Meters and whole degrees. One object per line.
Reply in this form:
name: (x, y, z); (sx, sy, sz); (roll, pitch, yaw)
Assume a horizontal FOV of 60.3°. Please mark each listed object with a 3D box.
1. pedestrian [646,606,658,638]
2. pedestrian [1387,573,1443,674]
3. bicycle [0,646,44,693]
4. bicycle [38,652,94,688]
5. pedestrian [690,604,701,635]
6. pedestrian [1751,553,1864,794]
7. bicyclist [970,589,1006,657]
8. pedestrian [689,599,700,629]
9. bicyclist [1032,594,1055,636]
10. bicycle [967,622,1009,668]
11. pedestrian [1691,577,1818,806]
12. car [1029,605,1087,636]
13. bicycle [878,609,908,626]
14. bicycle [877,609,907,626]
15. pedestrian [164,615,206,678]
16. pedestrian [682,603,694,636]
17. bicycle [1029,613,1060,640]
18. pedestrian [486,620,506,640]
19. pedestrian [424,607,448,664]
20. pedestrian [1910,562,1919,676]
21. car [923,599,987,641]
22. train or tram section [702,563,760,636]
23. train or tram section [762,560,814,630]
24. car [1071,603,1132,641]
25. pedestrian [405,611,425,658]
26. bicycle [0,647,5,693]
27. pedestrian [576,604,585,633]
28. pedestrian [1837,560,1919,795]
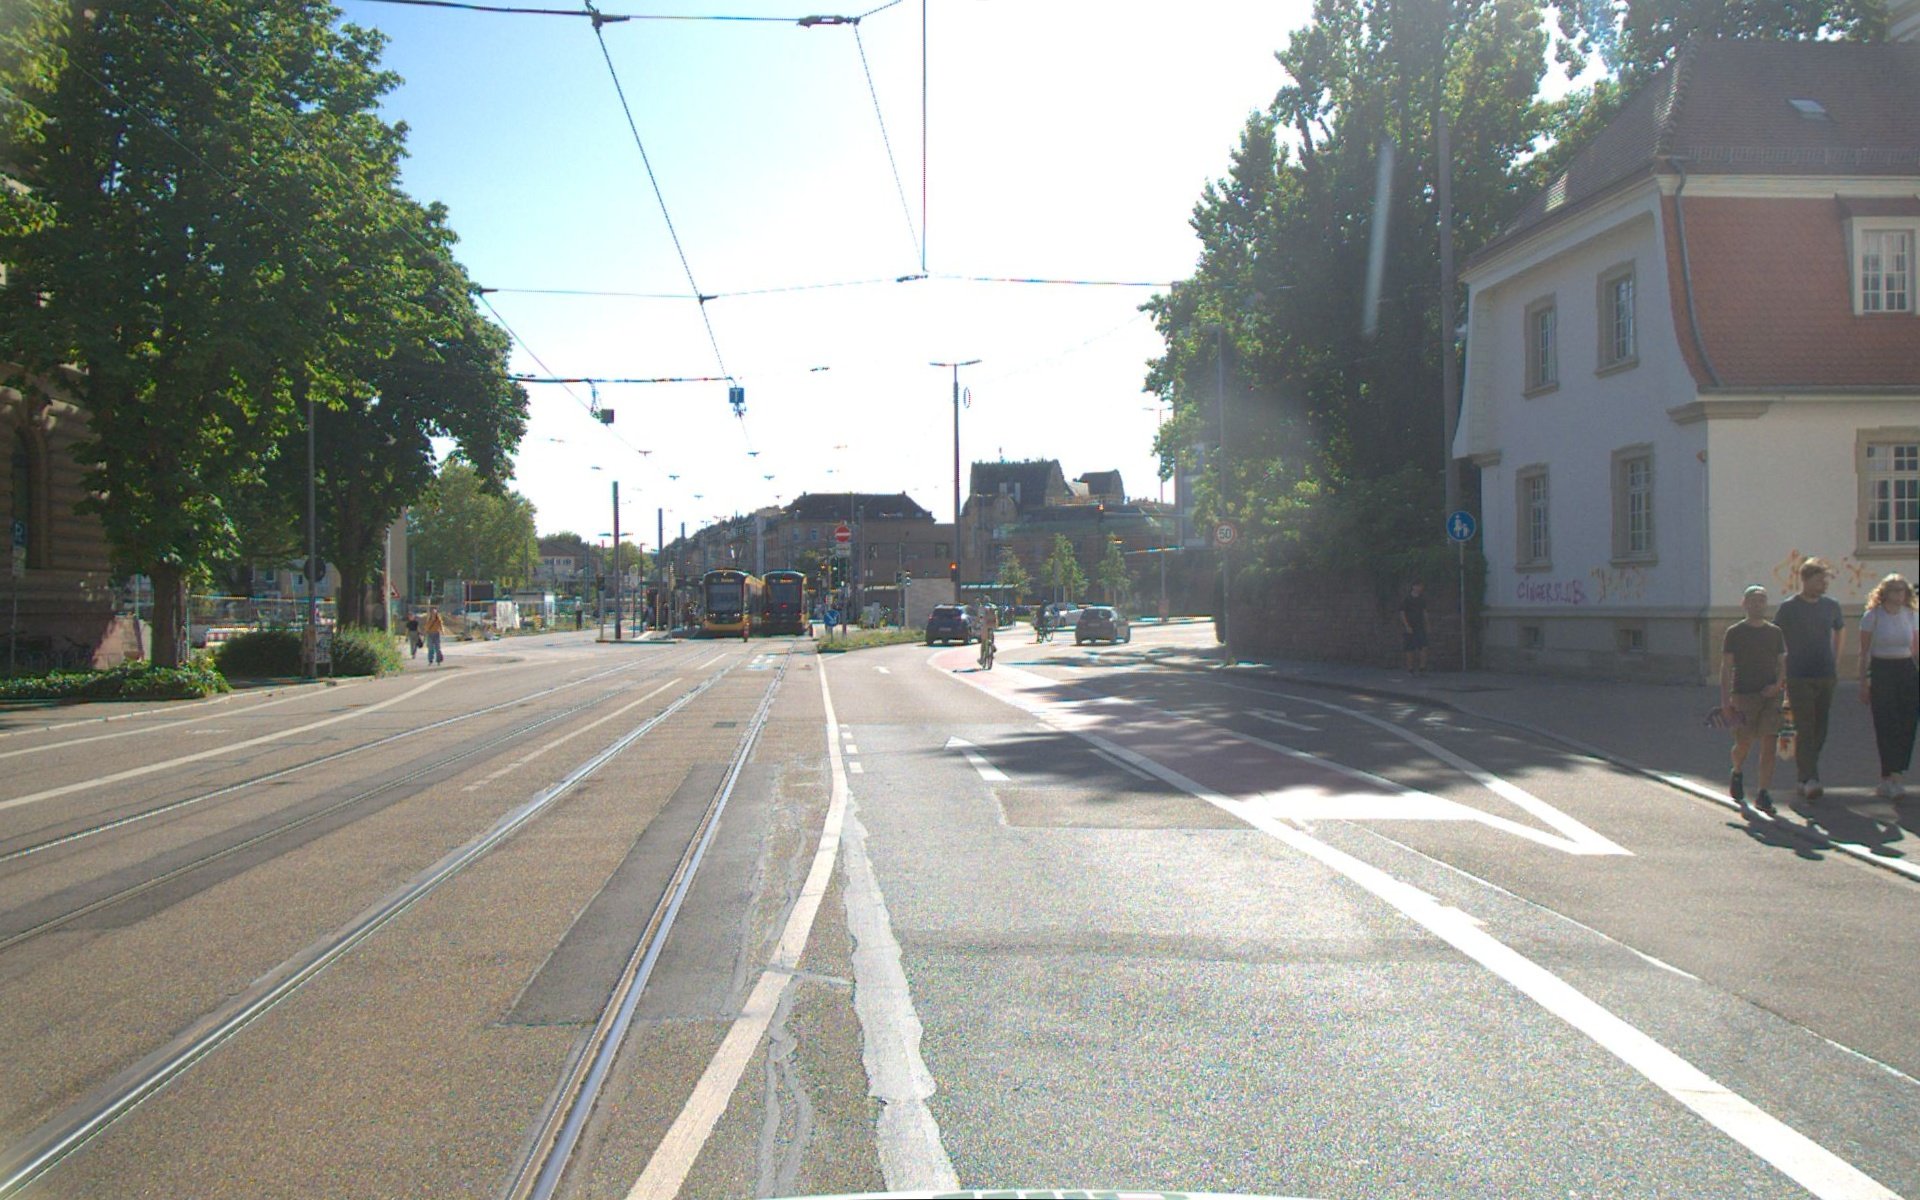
pedestrian: (-18.147, 1.302, 97.456); (0.614, 1.859, 0.661); (-1, 0, -6)
pedestrian: (8.941, 0.455, 32.517); (0.625, 1.937, 1.133); (-3, 0, -4)
bicycle: (-19.773, 1.442, 34.528); (0.471, 0.933, 1.618); (-1, -1, -4)
bicycle: (-20.072, 1.568, 37.162); (0.471, 0.737, 1.618); (-1, -1, -4)
pedestrian: (-15.905, 1.158, 99.570); (0.614, 1.859, 0.661); (-1, 0, -6)
pedestrian: (7.065, 0.603, 13.807); (0.508, 1.935, 0.612); (-4, 0, 3)
bicyclist: (0.728, 0.577, 42.626); (0.690, 1.704, 1.102); (1, 0, 14)
pedestrian: (-16.698, 0.864, 103.988); (0.614, 1.859, 0.661); (-1, 0, -6)
bicyclist: (3.520, 0.619, 69.566); (0.690, 1.730, 0.987); (1, 1, 19)
bicycle: (0.724, 1.141, 42.650); (0.690, 1.124, 1.718); (1, 0, 14)
pedestrian: (6.479, 0.728, 13.519); (0.594, 1.777, 0.718); (-4, 0, 3)
car: (5.351, 1.092, 89.646); (1.669, 1.672, 3.705); (0, 0, 30)
bicycle: (-4.423, 1.143, 108.649); (1.897, 1.122, 0.598); (-1, 0, -8)
bicycle: (-4.513, 1.150, 109.413); (1.897, 1.122, 0.598); (-1, 0, -8)
pedestrian: (-19.271, 1.149, 41.105); (0.910, 1.531, 0.699); (-1, 0, -28)
pedestrian: (-15.442, 1.110, 93.990); (0.614, 1.859, 0.661); (-1, 0, -6)
bicycle: (3.569, 1.119, 69.752); (0.690, 1.073, 2.314); (1, 1, 19)
pedestrian: (-24.955, 1.627, 88.959); (0.880, 1.065, 0.655); (-1, 0, -5)
pedestrian: (-16.194, 1.090, 51.095); (0.626, 1.726, 0.815); (-2, 0, -20)
pedestrian: (7.959, 0.575, 12.940); (0.597, 1.805, 0.653); (-5, 0, 11)
car: (-0.187, 0.795, 66.819); (1.751, 1.632, 3.715); (0, 0, 13)
train or tram section: (-12.667, -0.055, 92.423); (2.689, 3.715, 13.768); (-1, 0, -6)
train or tram section: (-9.920, -0.276, 95.593); (2.689, 3.715, 13.768); (-1, 0, -6)
car: (5.911, 0.891, 68.607); (1.751, 1.537, 3.714); (0, 0, 17)
pedestrian: (-19.890, 1.252, 60.398); (0.608, 1.726, 0.677); (-1, 0, -13)
bicycle: (-19.600, 1.416, 32.791); (0.471, 0.933, 1.618); (-1, -1, -4)
pedestrian: (-27.673, 1.348, 120.701); (0.514, 2.049, 0.522); (-1, 0, -1)
pedestrian: (7.481, 0.612, 13.320); (0.519, 1.805, 0.733); (-5, 0, 35)
